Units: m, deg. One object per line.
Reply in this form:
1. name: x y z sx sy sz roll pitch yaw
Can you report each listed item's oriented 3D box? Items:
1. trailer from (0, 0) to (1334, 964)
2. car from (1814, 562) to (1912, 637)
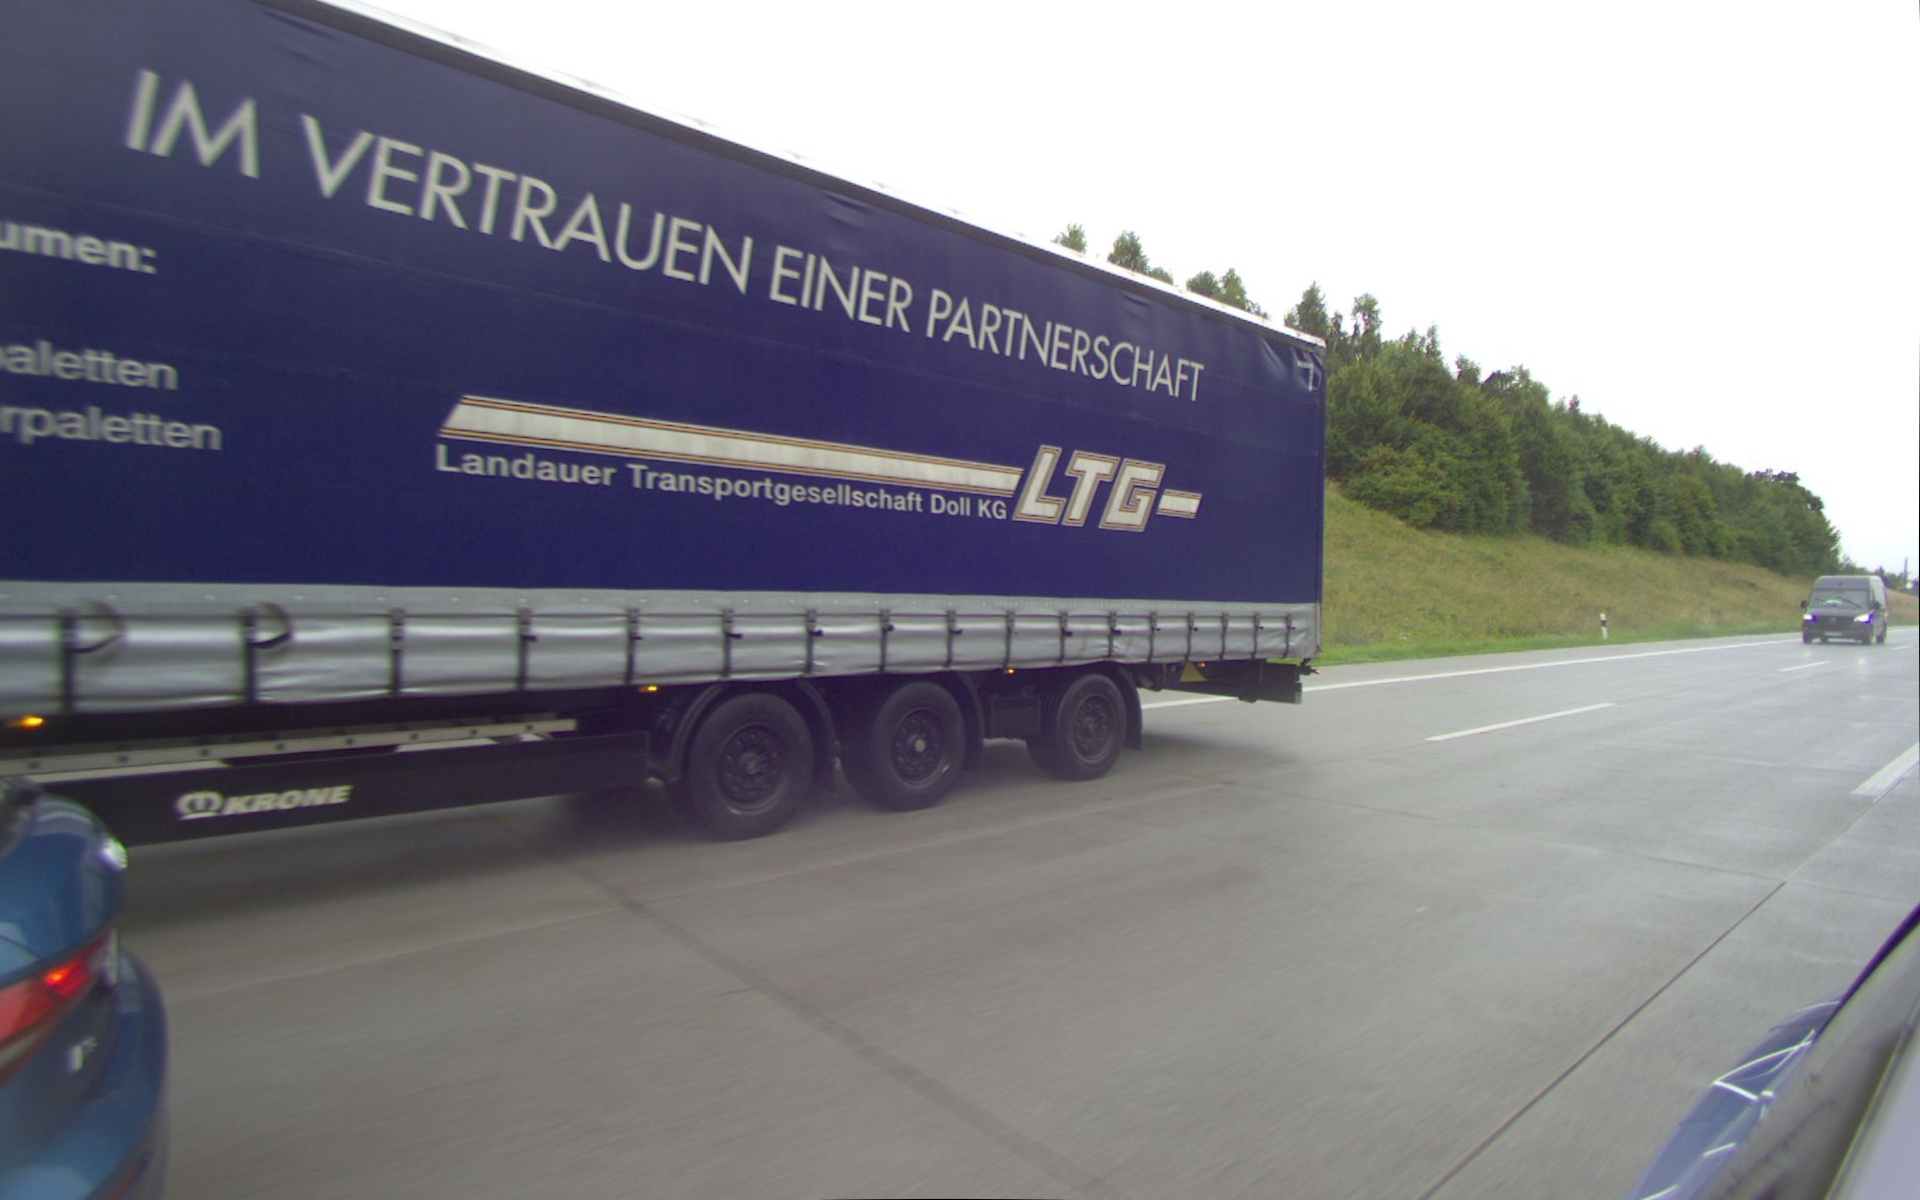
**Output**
1. trailer: -2.769 -0.893 6.179 14.939 4.435 2.711 0 0 -41
2. car: 35.126 0.025 39.295 6.468 2.693 1.945 1 -1 -40
